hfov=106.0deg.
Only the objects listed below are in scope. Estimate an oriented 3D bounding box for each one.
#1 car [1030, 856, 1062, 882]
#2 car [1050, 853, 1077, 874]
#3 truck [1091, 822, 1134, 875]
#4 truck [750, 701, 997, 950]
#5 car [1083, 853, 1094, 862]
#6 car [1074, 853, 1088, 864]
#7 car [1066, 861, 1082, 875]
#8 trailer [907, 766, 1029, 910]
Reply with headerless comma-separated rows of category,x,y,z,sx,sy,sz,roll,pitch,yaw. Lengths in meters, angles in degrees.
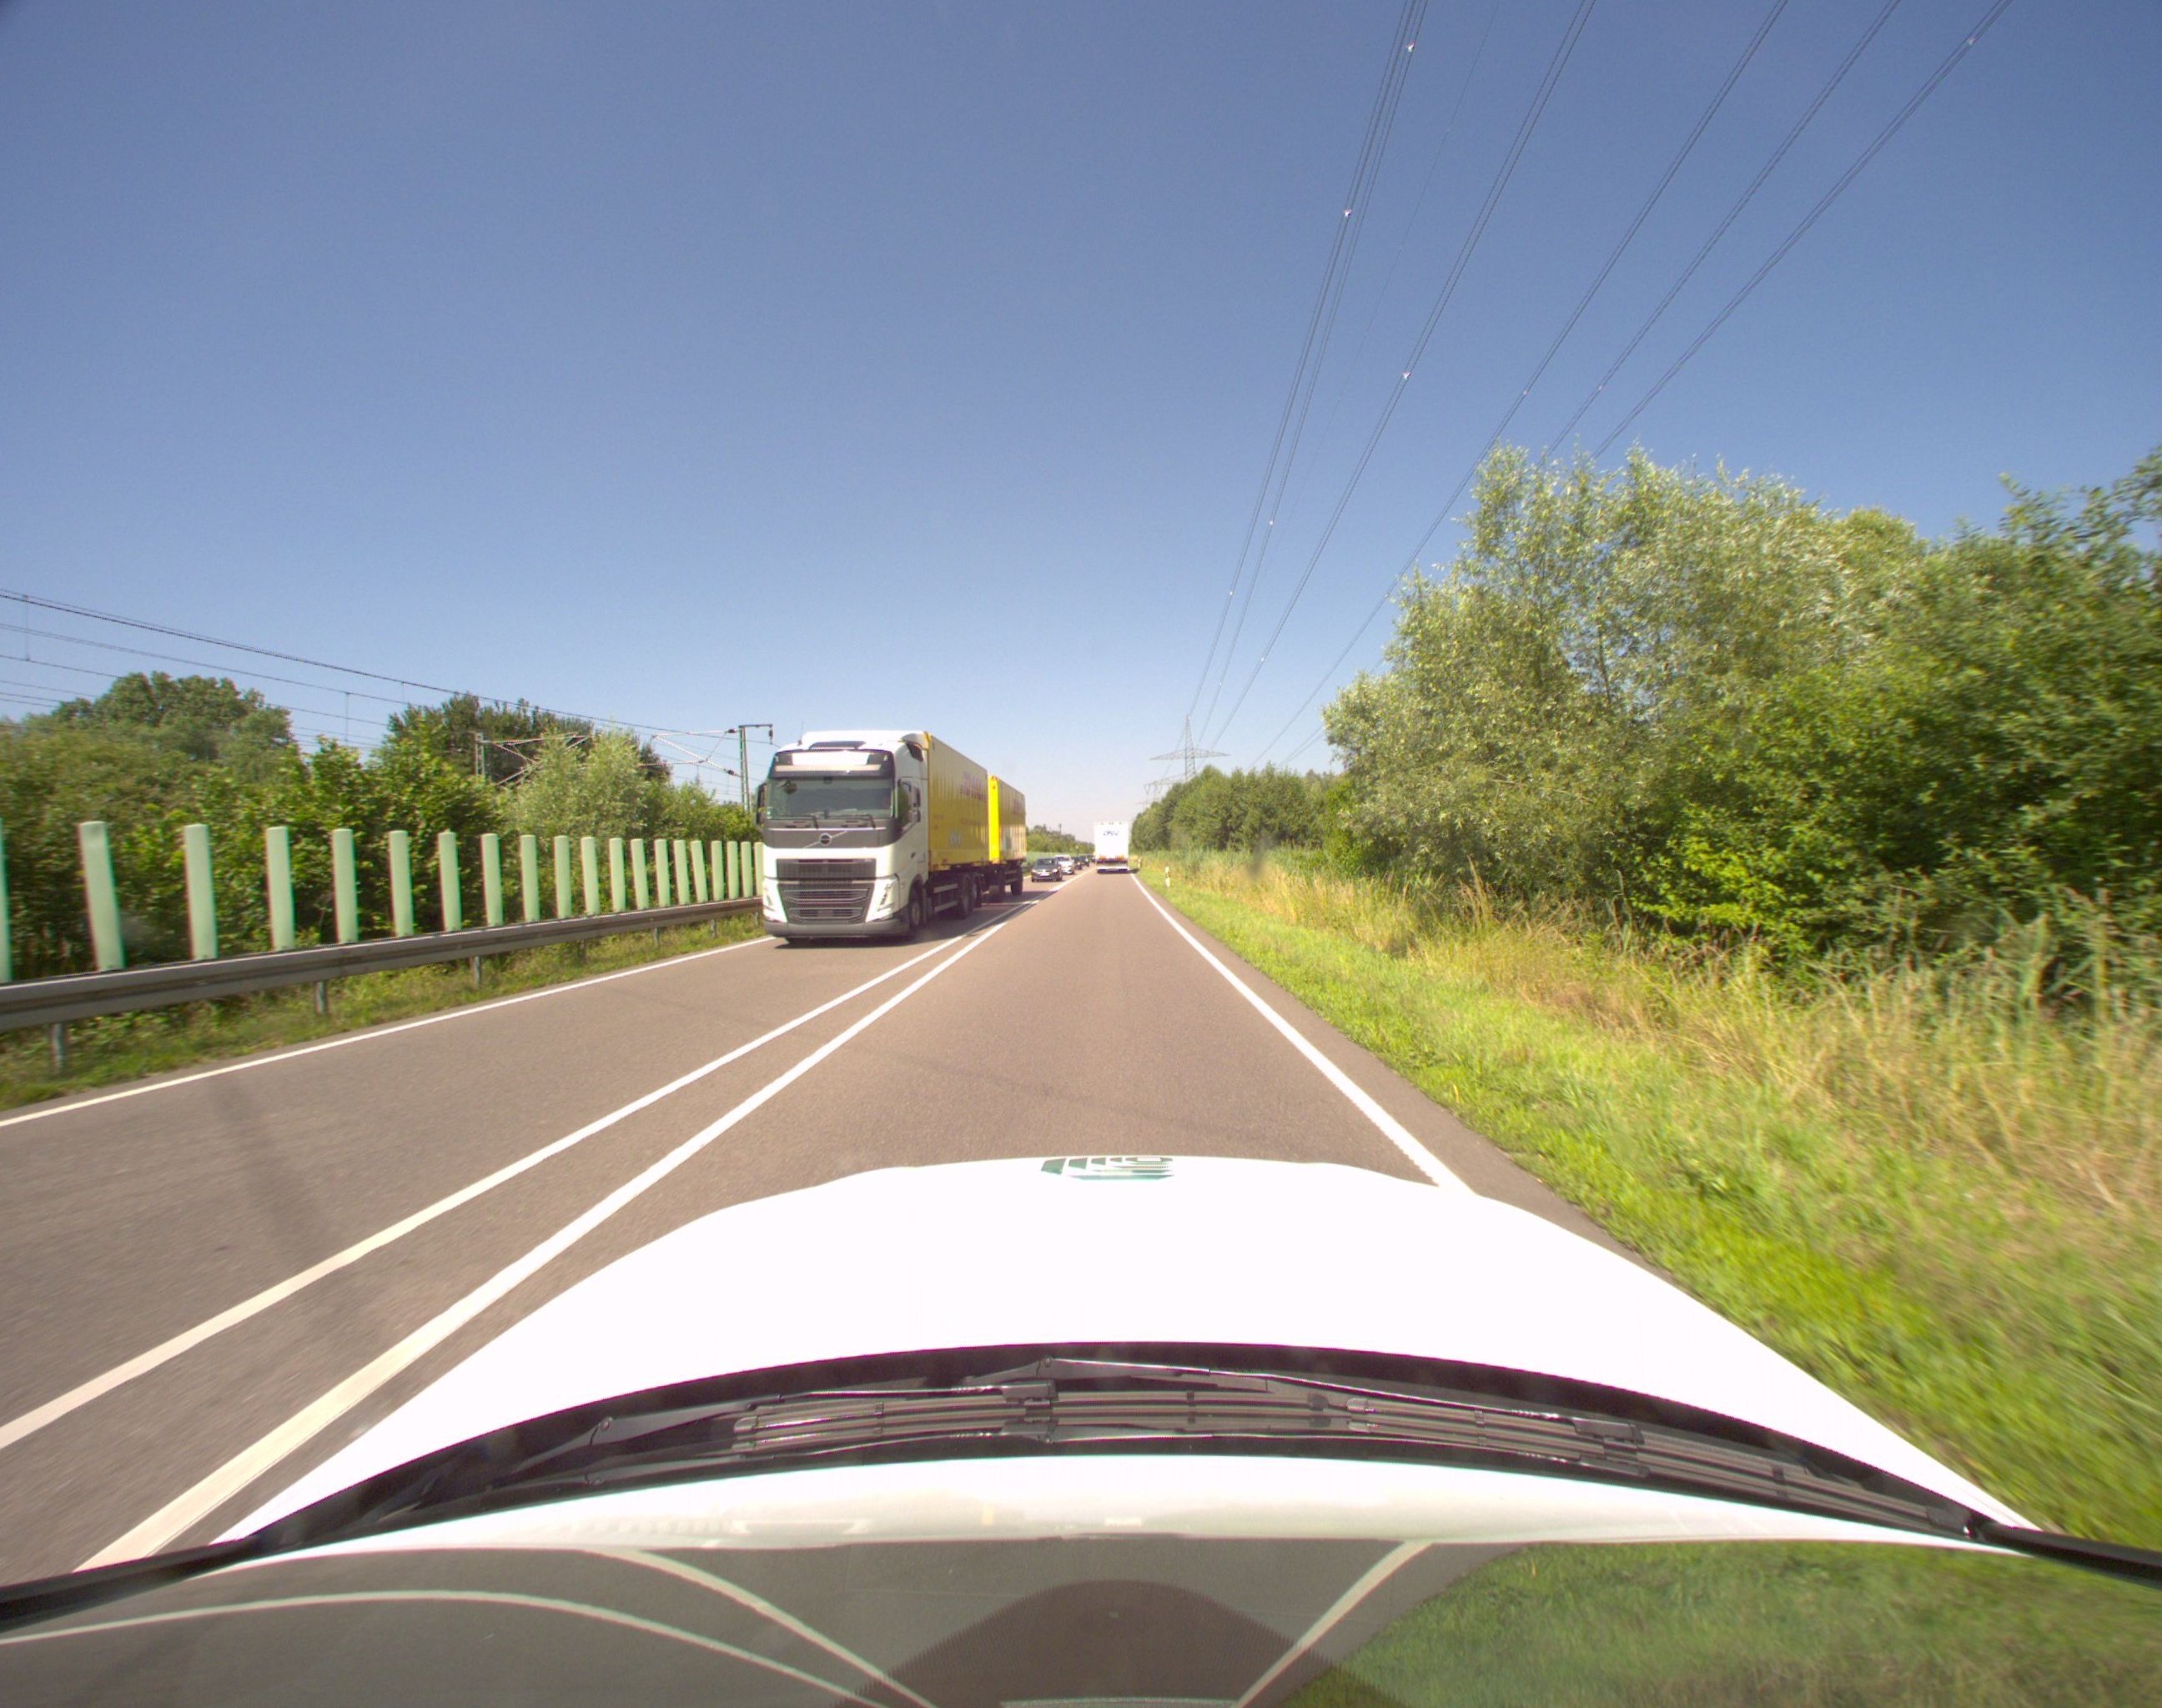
car,-2.059,0.866,48.969,1.608,1.441,3.796,-1,0,2
car,-1.419,0.747,65.801,1.817,1.605,4.327,-1,0,3
truck,2.652,-0.409,68.855,3.180,4.042,12.013,-2,0,2
truck,-4.048,-0.478,18.980,2.538,4.128,10.610,-1,0,2
car,1.422,0.609,154.061,1.794,1.587,4.374,-1,0,3
car,0.002,0.591,108.371,1.666,1.515,4.291,-1,0,2
car,-0.709,1.458,86.163,1.500,1.435,3.745,-1,0,3
trailer,-3.615,-0.464,28.479,2.538,4.144,9.233,-1,0,2
